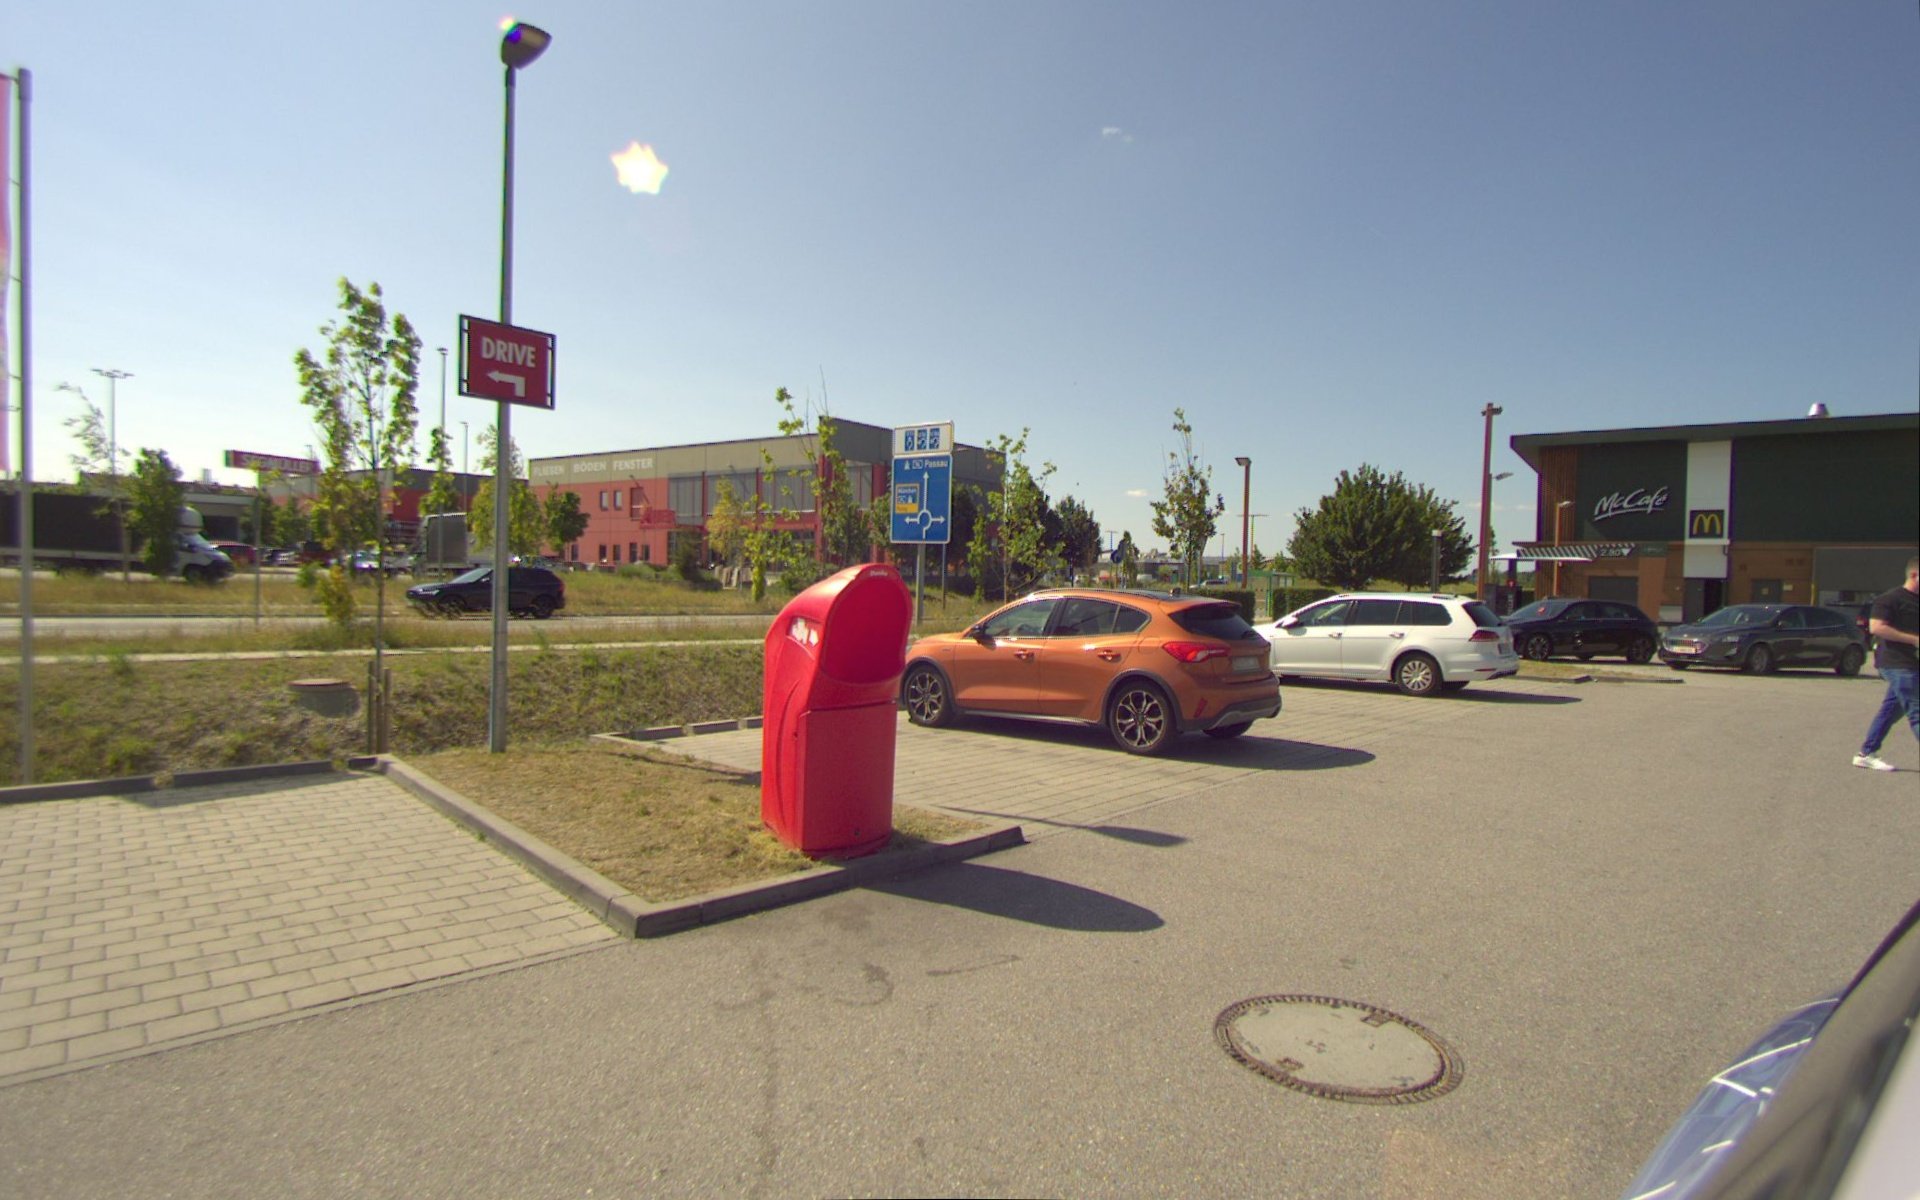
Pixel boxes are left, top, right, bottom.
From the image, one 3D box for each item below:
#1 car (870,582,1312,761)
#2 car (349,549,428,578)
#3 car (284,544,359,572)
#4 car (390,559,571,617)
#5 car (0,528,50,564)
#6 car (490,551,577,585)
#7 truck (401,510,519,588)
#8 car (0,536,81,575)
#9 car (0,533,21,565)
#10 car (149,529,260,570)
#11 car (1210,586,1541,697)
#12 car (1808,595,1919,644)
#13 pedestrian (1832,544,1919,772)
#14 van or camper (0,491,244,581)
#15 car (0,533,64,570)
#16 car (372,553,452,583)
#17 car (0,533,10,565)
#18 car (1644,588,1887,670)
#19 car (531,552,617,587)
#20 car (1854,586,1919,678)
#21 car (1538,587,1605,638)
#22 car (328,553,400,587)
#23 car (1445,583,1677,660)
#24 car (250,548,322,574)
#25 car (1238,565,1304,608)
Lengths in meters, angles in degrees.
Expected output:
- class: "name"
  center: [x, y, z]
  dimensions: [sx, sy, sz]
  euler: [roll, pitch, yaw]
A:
- class: "car"
  center: [1.191, 0.564, 10.546]
  dimensions: [4.336, 1.487, 1.805]
  euler: [1, 1, 42]
- class: "car"
  center: [-40.147, -2.546, 71.148]
  dimensions: [2.035, 1.879, 4.349]
  euler: [2, 1, 35]
- class: "car"
  center: [-47.549, -3.139, 75.422]
  dimensions: [1.943, 1.879, 4.349]
  euler: [2, 1, 35]
- class: "car"
  center: [-14.820, -0.345, 31.383]
  dimensions: [4.719, 1.645, 1.998]
  euler: [1, 1, -39]
- class: "car"
  center: [-52.865, -2.969, 55.297]
  dimensions: [1.943, 1.879, 4.349]
  euler: [2, 1, 35]
- class: "car"
  center: [-25.102, -1.868, 59.731]
  dimensions: [1.943, 1.879, 4.349]
  euler: [2, 1, 35]
- class: "truck"
  center: [-24.498, -2.465, 49.448]
  dimensions: [6.804, 3.524, 2.727]
  euler: [2, 1, 41]
- class: "car"
  center: [-48.537, -2.314, 52.290]
  dimensions: [1.943, 1.879, 4.349]
  euler: [2, 1, 35]
- class: "car"
  center: [-57.481, -3.025, 58.526]
  dimensions: [1.943, 1.879, 4.349]
  euler: [2, 1, 35]
- class: "car"
  center: [-39.040, -2.578, 52.365]
  dimensions: [1.858, 1.879, 4.213]
  euler: [2, 1, 35]
- class: "car"
  center: [6.366, 0.536, 15.840]
  dimensions: [4.465, 1.487, 1.805]
  euler: [1, 1, 42]
- class: "car"
  center: [33.309, 0.717, 36.524]
  dimensions: [4.373, 1.622, 1.967]
  euler: [2, 1, -15]
- class: "pedestrian"
  center: [8.000, 0.468, 8.367]
  dimensions: [0.711, 1.832, 0.996]
  euler: [0, 0, -26]
- class: "van or camper"
  center: [-33.492, -2.465, 40.148]
  dimensions: [7.886, 3.140, 2.424]
  euler: [1, 0, -21]
- class: "car"
  center: [-50.944, -2.596, 54.017]
  dimensions: [1.943, 1.879, 4.349]
  euler: [2, 1, 35]
- class: "car"
  center: [-37.310, -2.189, 68.989]
  dimensions: [1.943, 1.879, 4.349]
  euler: [2, 1, 35]
- class: "car"
  center: [-59.488, -3.108, 59.980]
  dimensions: [1.943, 1.879, 4.349]
  euler: [2, 1, 35]
- class: "car"
  center: [16.779, 0.593, 21.120]
  dimensions: [4.118, 1.545, 1.980]
  euler: [2, 1, -18]
- class: "car"
  center: [-22.449, -1.775, 59.005]
  dimensions: [1.943, 1.879, 4.349]
  euler: [2, 1, 35]
- class: "car"
  center: [19.537, 0.647, 19.215]
  dimensions: [4.118, 1.675, 1.980]
  euler: [2, 1, -18]
- class: "car"
  center: [22.878, 0.416, 37.962]
  dimensions: [1.981, 1.712, 4.190]
  euler: [3, 2, 30]
- class: "car"
  center: [-27.246, -1.385, 46.256]
  dimensions: [3.949, 1.478, 1.631]
  euler: [2, 1, 41]
- class: "car"
  center: [13.701, 0.474, 23.183]
  dimensions: [4.243, 1.545, 1.979]
  euler: [2, 1, -10]
- class: "car"
  center: [-53.567, -3.060, 80.487]
  dimensions: [1.943, 1.879, 4.349]
  euler: [2, 1, 35]
- class: "car"
  center: [17.325, -0.726, 56.246]
  dimensions: [1.988, 2.224, 5.040]
  euler: [2, 1, 36]
